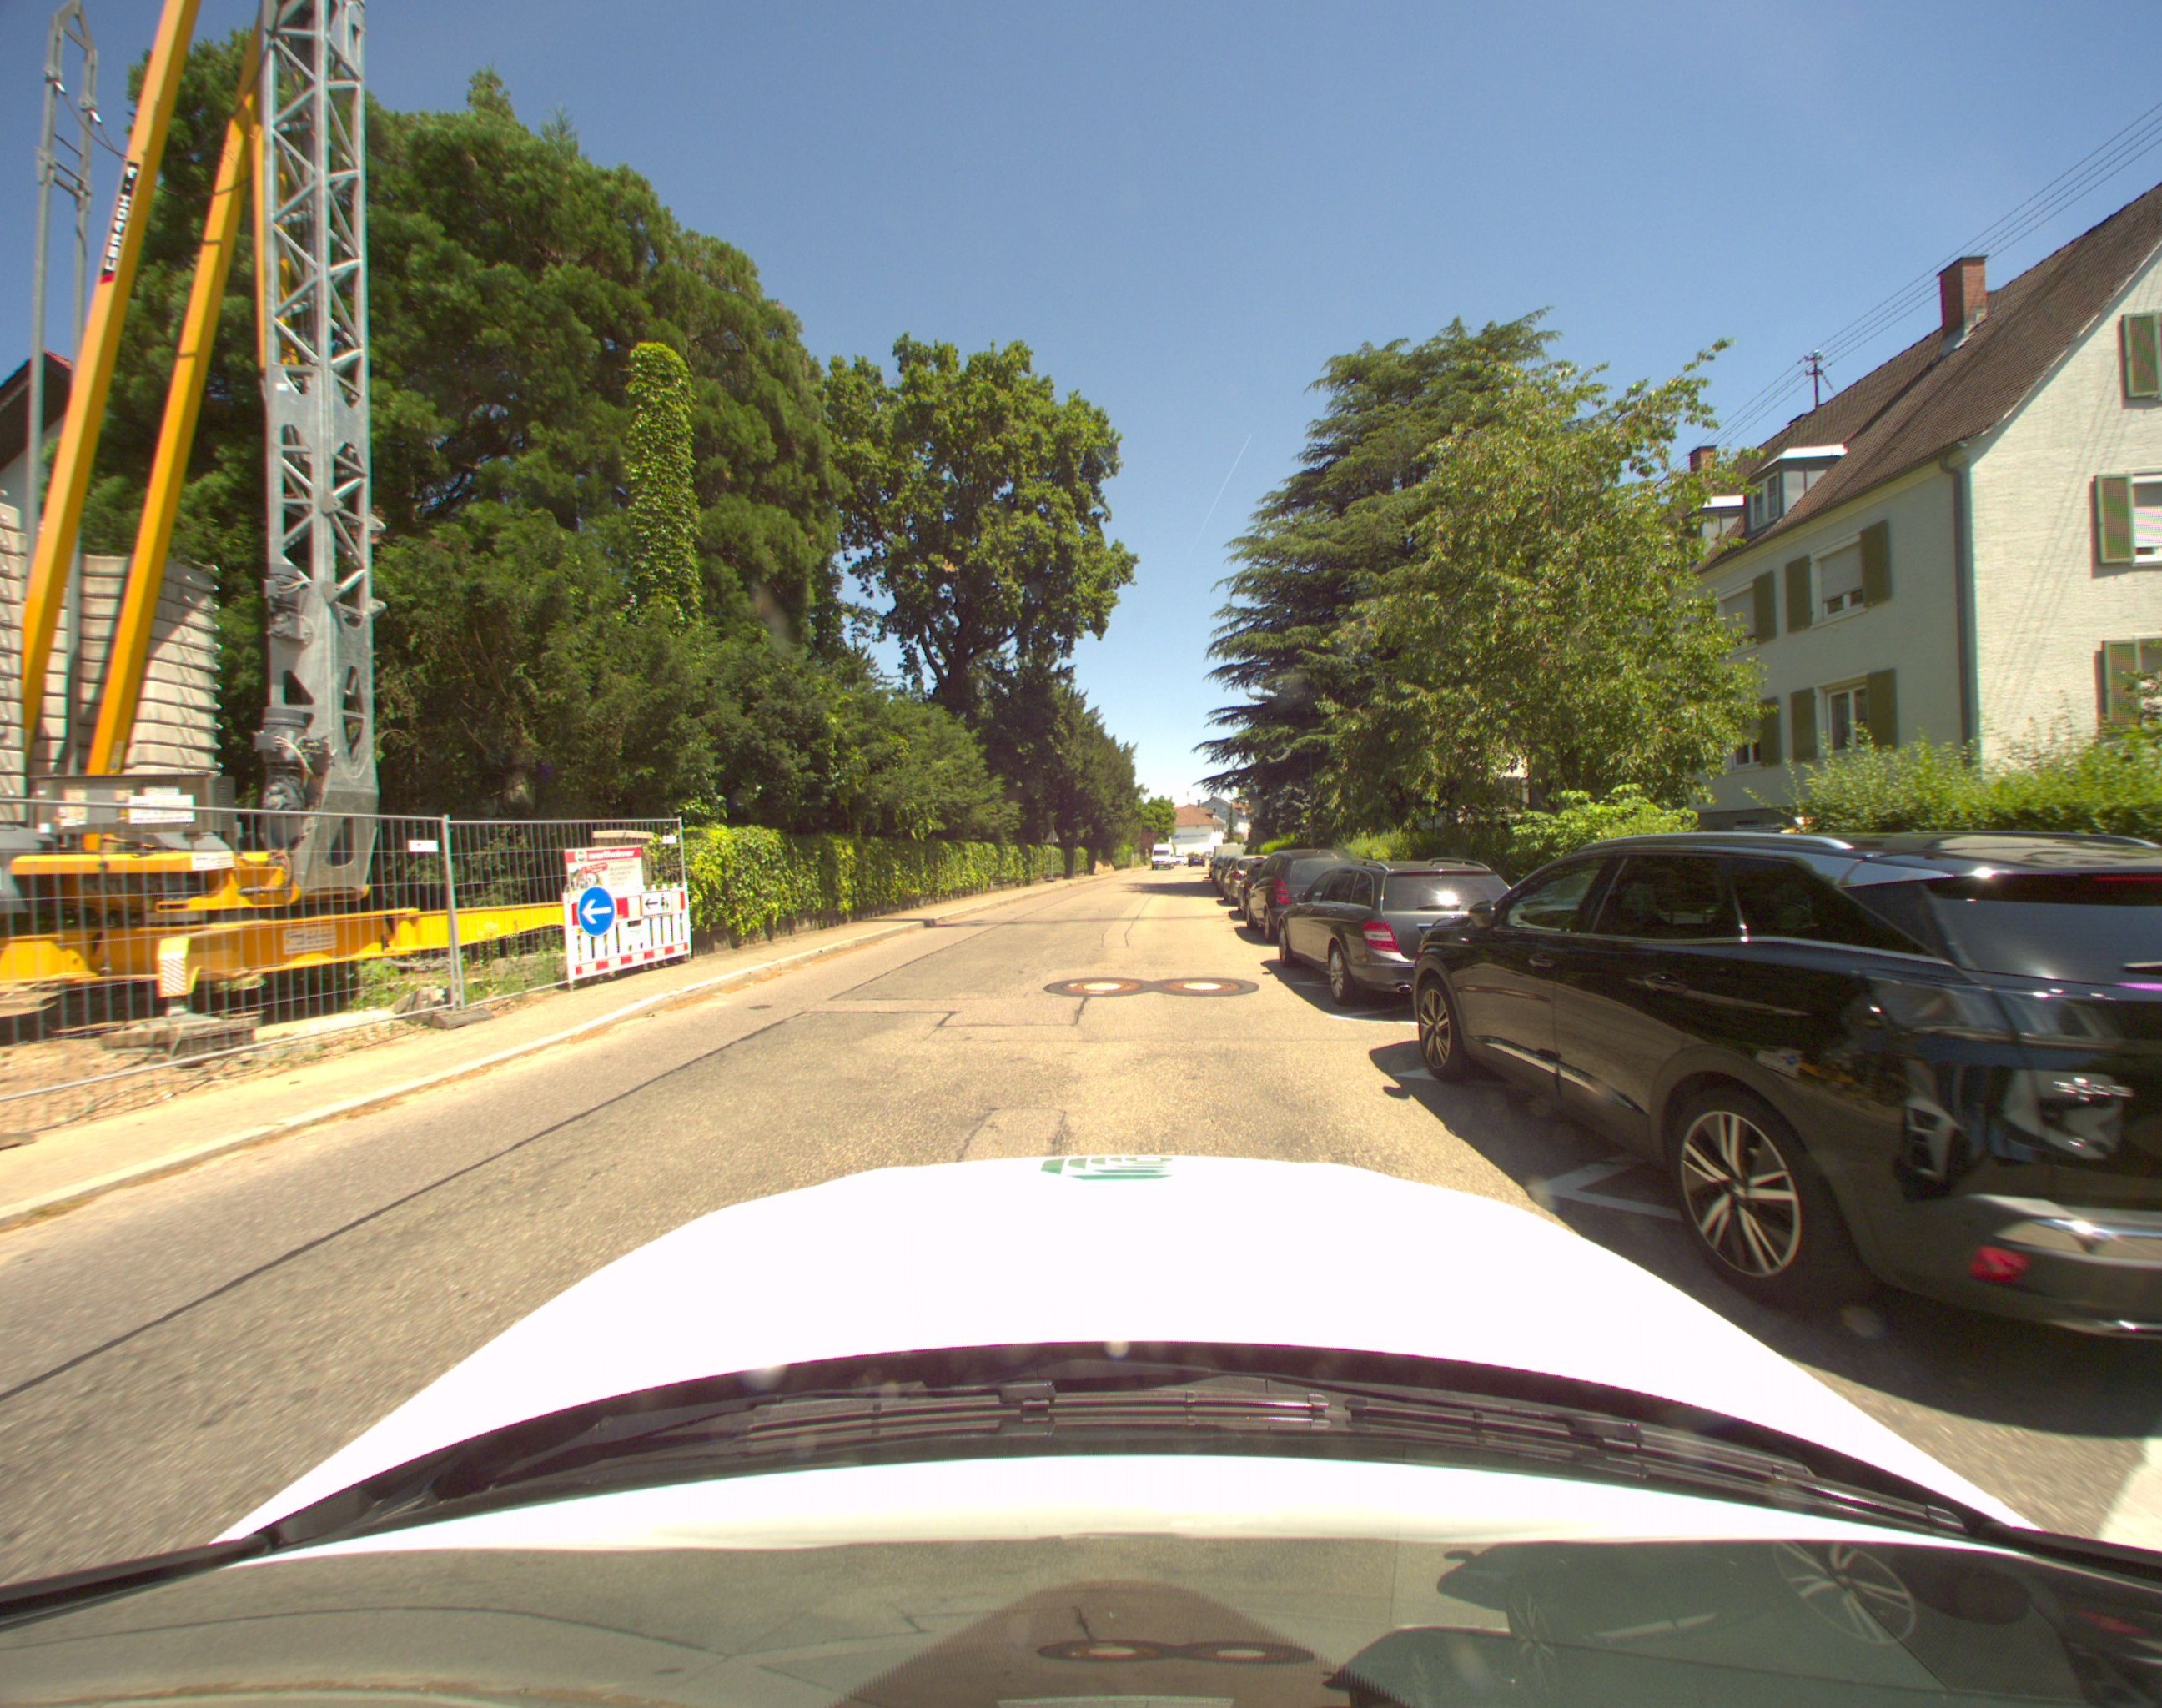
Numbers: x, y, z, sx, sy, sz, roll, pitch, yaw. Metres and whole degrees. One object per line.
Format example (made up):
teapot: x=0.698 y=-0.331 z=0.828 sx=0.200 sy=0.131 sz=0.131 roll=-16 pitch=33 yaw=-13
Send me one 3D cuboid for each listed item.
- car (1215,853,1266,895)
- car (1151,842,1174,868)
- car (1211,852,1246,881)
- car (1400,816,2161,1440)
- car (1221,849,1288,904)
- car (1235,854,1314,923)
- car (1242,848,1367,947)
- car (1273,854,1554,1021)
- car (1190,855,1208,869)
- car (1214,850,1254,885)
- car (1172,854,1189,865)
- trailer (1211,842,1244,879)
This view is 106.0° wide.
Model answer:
car: x=5.890 y=0.698 z=30.477 sx=1.605 sy=1.451 sz=4.384 roll=-1 pitch=0 yaw=8
car: x=8.524 y=0.127 z=84.755 sx=1.982 sy=2.533 sz=5.908 roll=-1 pitch=0 yaw=8
car: x=7.436 y=0.621 z=41.381 sx=1.605 sy=1.396 sz=4.268 roll=-1 pitch=0 yaw=8
car: x=3.117 y=0.685 z=4.093 sx=1.654 sy=1.538 sz=4.208 roll=0 pitch=0 yaw=4
car: x=5.300 y=0.661 z=25.242 sx=1.606 sy=1.512 sz=4.071 roll=1 pitch=0 yaw=6
car: x=4.703 y=0.772 z=20.199 sx=1.572 sy=1.443 sz=4.018 roll=1 pitch=1 yaw=9
car: x=3.990 y=0.690 z=15.118 sx=1.573 sy=1.576 sz=4.015 roll=-1 pitch=0 yaw=6
car: x=3.444 y=0.744 z=9.342 sx=1.655 sy=1.432 sz=4.207 roll=-1 pitch=0 yaw=3
car: x=13.545 y=0.893 z=93.267 sx=1.783 sy=1.510 sz=4.012 roll=1 pitch=0 yaw=11
car: x=6.888 y=0.562 z=36.992 sx=1.605 sy=1.469 sz=4.074 roll=-1 pitch=0 yaw=9
car: x=13.369 y=0.759 z=109.025 sx=1.852 sy=1.383 sz=4.619 roll=-1 pitch=0 yaw=11
trailer: x=8.426 y=0.359 z=47.090 sx=1.671 sy=2.068 sz=3.716 roll=0 pitch=0 yaw=7
